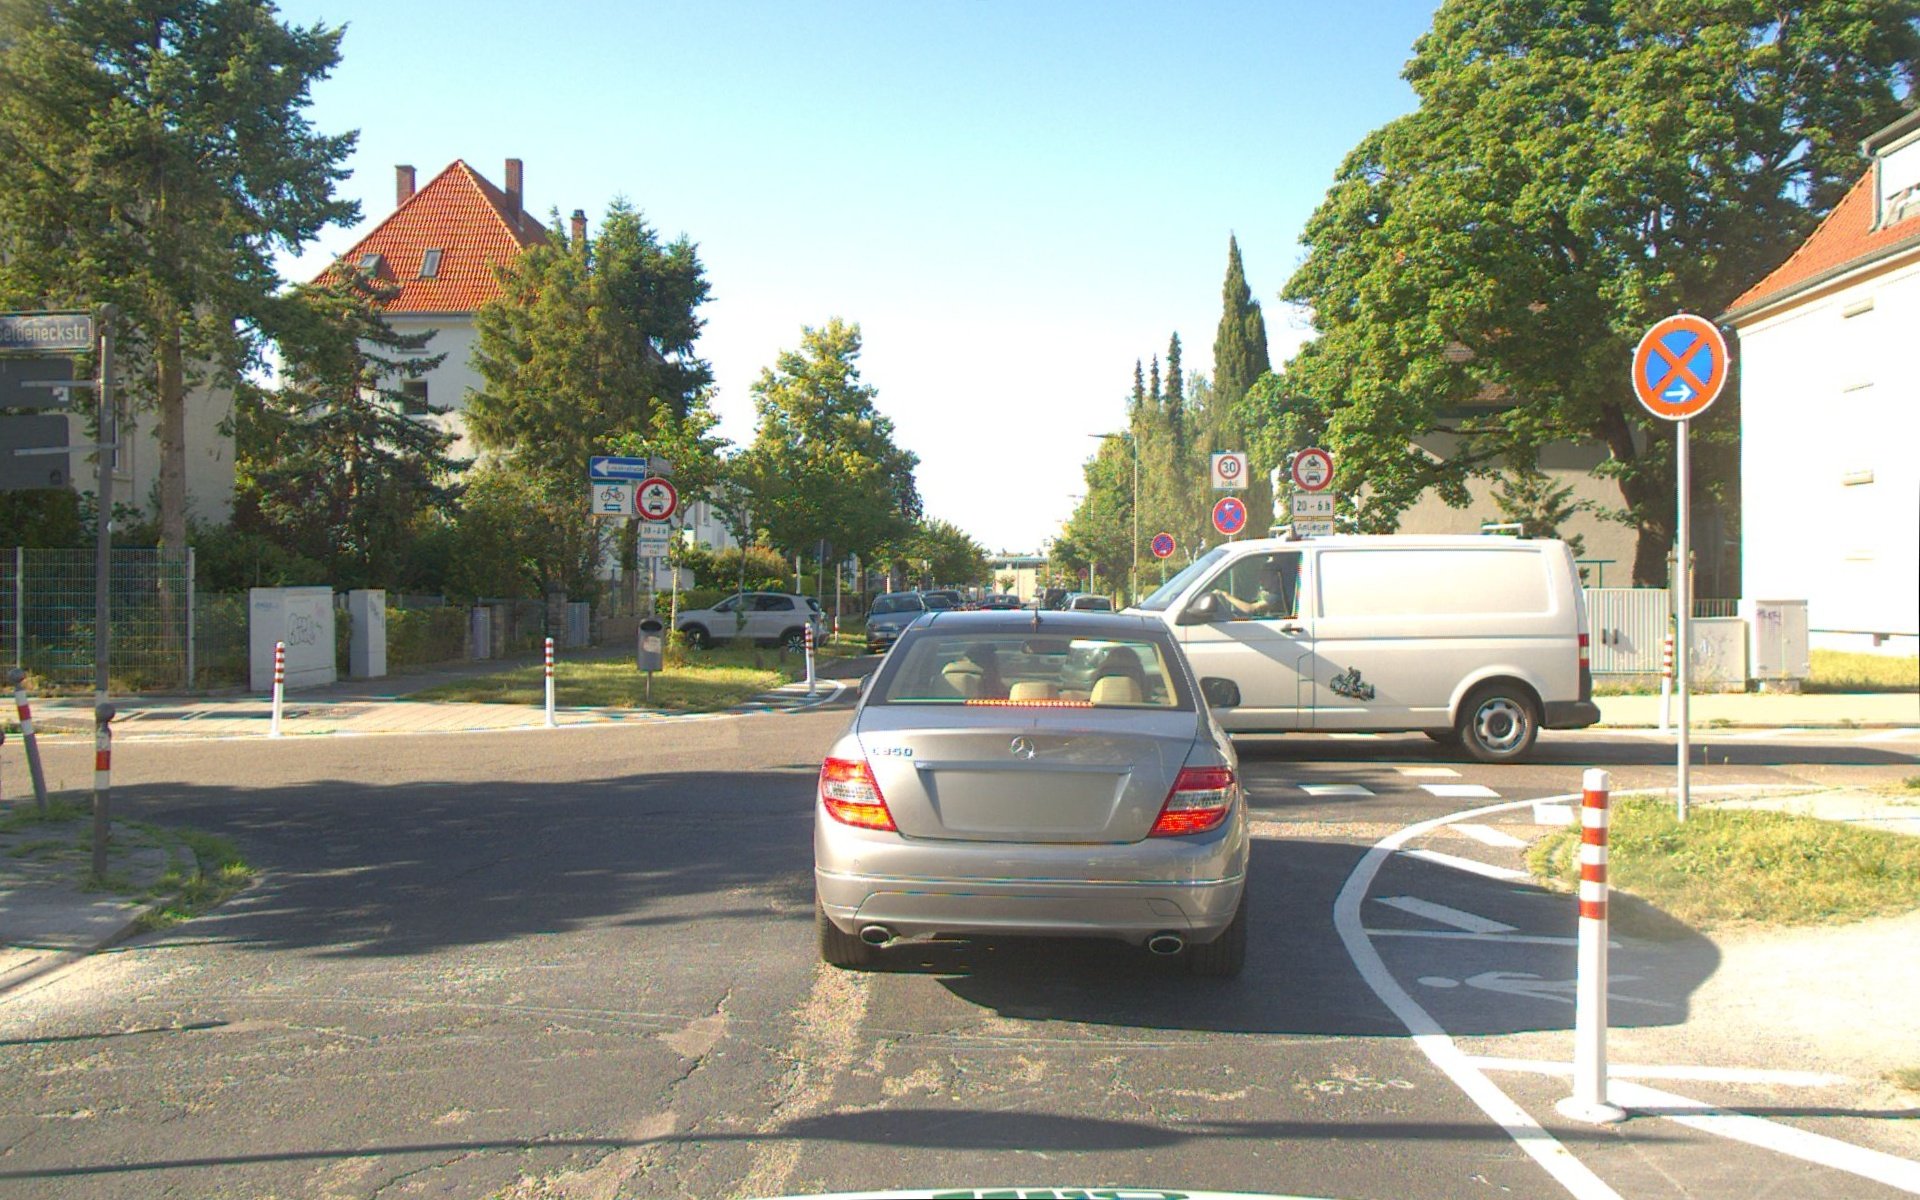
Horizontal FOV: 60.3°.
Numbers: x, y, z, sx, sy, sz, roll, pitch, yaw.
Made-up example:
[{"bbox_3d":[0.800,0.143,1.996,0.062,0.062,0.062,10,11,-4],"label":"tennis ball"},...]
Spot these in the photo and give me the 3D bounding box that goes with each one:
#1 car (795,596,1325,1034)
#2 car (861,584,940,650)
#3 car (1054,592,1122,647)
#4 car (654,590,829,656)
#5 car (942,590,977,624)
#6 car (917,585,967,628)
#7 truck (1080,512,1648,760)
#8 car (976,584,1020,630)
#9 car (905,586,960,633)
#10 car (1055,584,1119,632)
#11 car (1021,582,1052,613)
[{"bbox_3d":[0.442,0.722,7.642,1.798,1.466,4.002,0,0,3],"label":"car"},{"bbox_3d":[-1.614,0.431,46.041,1.953,1.637,4.000,-4,0,0],"label":"car"},{"bbox_3d":[3.692,0.533,48.196,1.698,1.505,3.725,-1,0,0],"label":"car"},{"bbox_3d":[-5.366,0.554,40.993,4.107,1.591,1.842,0,0,-1],"label":"car"},{"bbox_3d":[-0.026,0.357,89.040,1.699,1.637,3.935,-4,0,0],"label":"car"},{"bbox_3d":[-0.749,0.254,69.641,1.953,1.637,4.000,-4,0,0],"label":"car"},{"bbox_3d":[3.538,0.304,15.229,4.757,2.071,2.001,-1,0,2],"label":"truck"},{"bbox_3d":[1.389,0.235,61.401,1.564,1.638,3.644,-1,1,0],"label":"car"},{"bbox_3d":[-1.016,0.342,63.847,1.953,1.637,4.000,-4,0,0],"label":"car"},{"bbox_3d":[4.490,0.271,58.954,1.953,1.638,4.000,-1,0,0],"label":"car"},{"bbox_3d":[4.797,-0.183,103.943,1.816,1.873,4.001,-1,0,1],"label":"car"}]
